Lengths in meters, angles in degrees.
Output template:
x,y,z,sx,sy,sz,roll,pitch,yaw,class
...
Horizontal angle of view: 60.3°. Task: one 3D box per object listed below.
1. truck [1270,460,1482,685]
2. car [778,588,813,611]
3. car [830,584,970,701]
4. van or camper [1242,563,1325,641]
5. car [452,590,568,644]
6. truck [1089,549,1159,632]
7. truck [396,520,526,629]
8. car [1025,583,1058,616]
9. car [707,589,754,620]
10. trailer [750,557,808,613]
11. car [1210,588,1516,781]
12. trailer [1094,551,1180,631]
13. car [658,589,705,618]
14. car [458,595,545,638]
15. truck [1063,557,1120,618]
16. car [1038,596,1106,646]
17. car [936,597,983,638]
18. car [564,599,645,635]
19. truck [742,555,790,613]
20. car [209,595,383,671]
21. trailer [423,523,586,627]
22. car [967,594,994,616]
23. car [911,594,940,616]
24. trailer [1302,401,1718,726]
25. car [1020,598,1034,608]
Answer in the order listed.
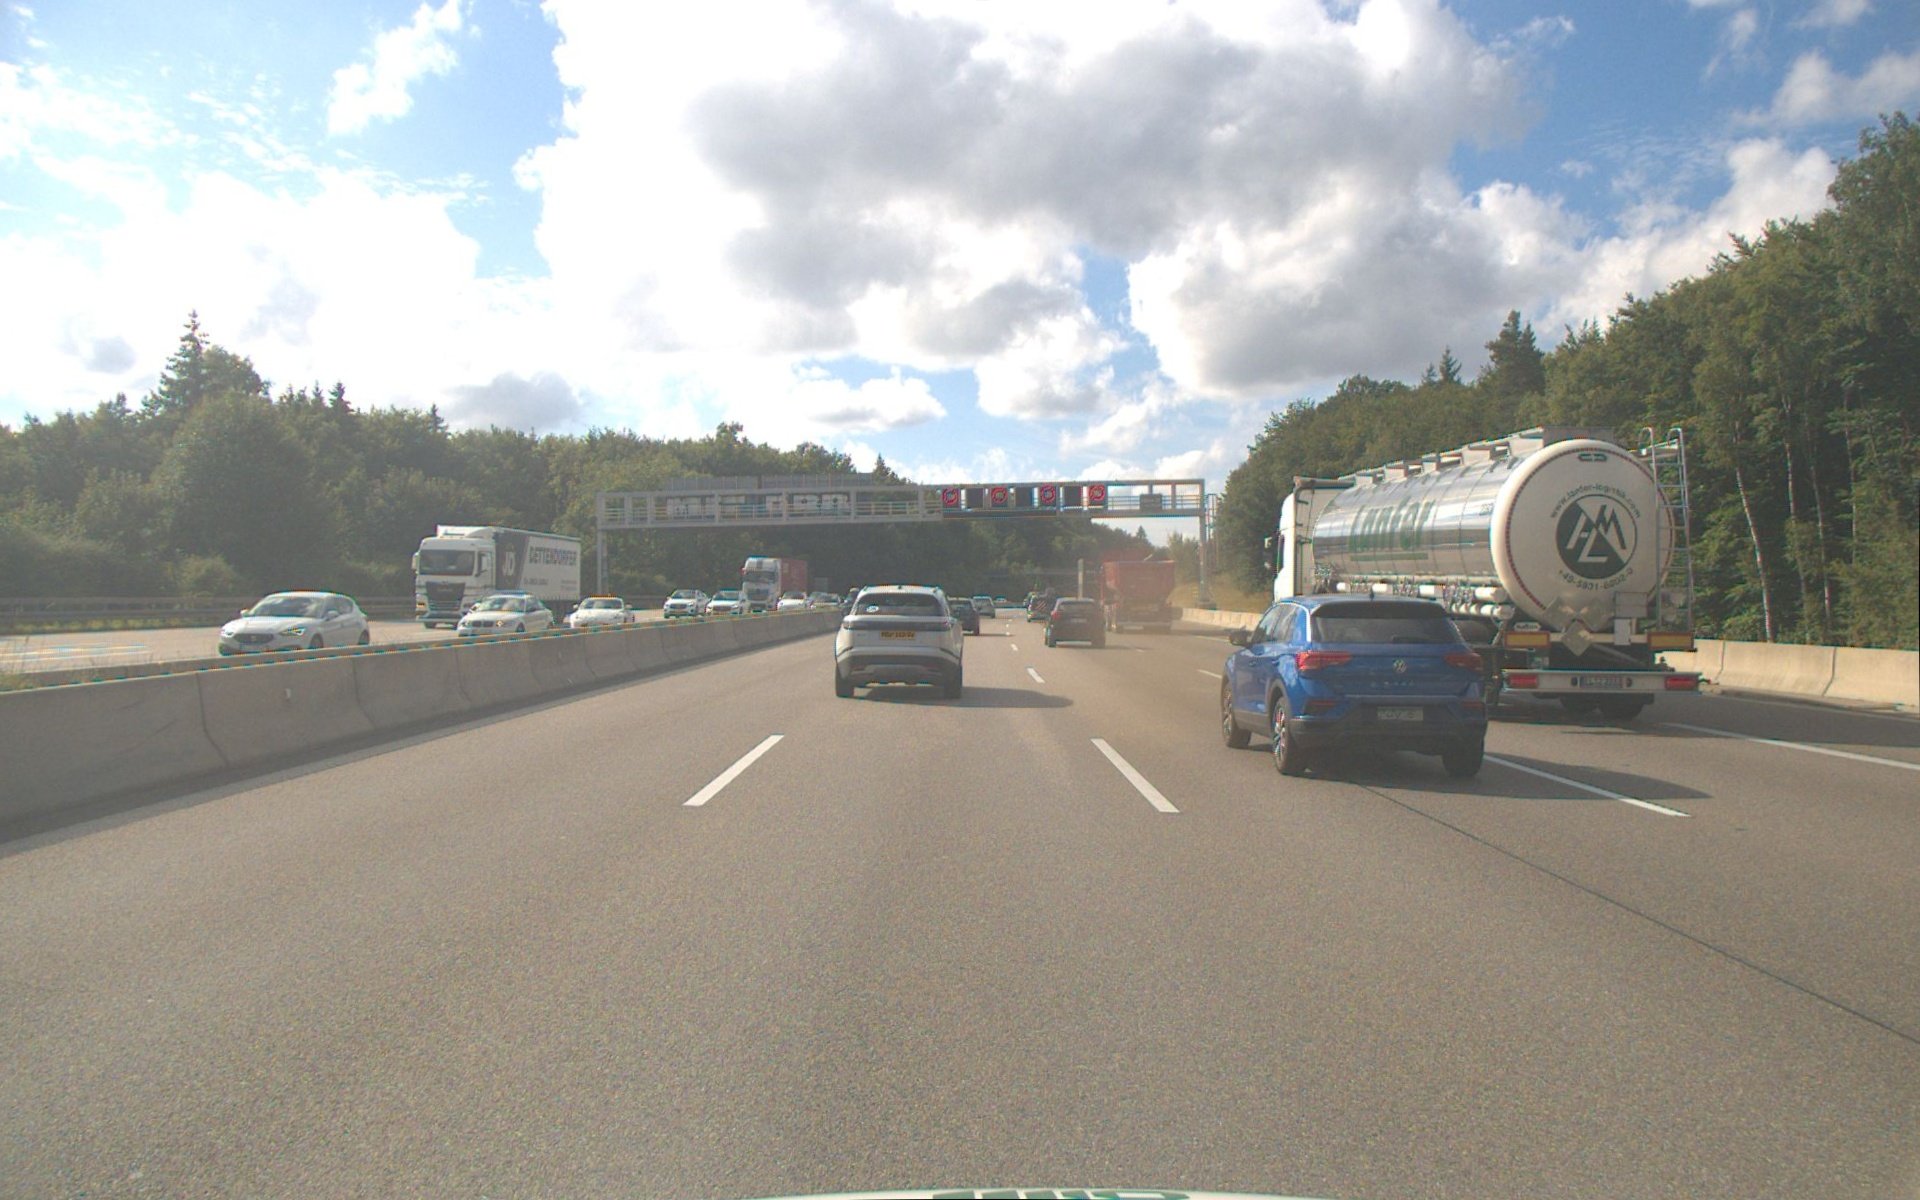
x,y,z,sx,sy,sz,roll,pitch,yaw,class
7.796,-0.482,31.740,2.594,3.890,6.082,0,0,1,truck
-11.295,-0.044,113.860,1.819,1.552,4.995,1,0,1,car
-0.870,0.602,26.256,1.965,1.644,5.300,1,0,0,car
10.183,0.043,52.354,1.784,2.348,4.939,0,0,1,van or camper
-12.659,0.454,46.789,1.646,1.421,4.717,0,0,5,car
7.735,-0.471,78.682,2.655,3.783,5.817,1,0,-1,truck
-20.055,-1.003,66.850,3.249,4.178,6.225,0,0,1,truck
4.823,-0.016,97.808,1.854,1.889,4.102,1,0,3,car
-12.322,0.233,89.153,1.673,1.622,4.945,0,0,2,car
-14.183,-1.176,130.591,2.682,4.178,13.419,0,0,2,trailer
3.621,0.680,15.692,1.737,1.557,4.456,0,0,-1,car
7.768,-0.426,73.781,2.654,3.288,9.731,1,0,0,trailer
-16.122,0.186,95.983,1.756,1.646,5.045,0,0,1,car
-16.627,0.568,60.180,1.774,1.478,4.801,0,0,1,car
8.984,-0.850,113.859,3.054,4.003,10.410,0,0,0,truck
3.469,0.637,51.915,1.785,1.483,3.999,0,0,-1,car
0.013,0.664,66.207,1.785,1.573,4.000,0,0,1,car
-12.083,0.555,56.425,1.774,1.181,4.515,0,0,0,car
-14.388,-1.153,122.873,2.682,4.178,5.766,0,0,1,truck
-13.318,0.610,33.491,1.734,1.419,4.689,0,0,-2,car
-19.990,-1.047,73.930,3.249,4.178,14.155,0,0,0,trailer
1.413,0.362,113.419,1.784,1.483,4.001,1,0,1,car
-2.360,0.328,114.245,1.902,1.483,4.000,-1,0,0,car
7.732,-0.454,25.489,2.594,3.833,11.861,0,0,1,trailer
9.891,0.452,243.605,2.033,1.483,4.002,-1,0,3,car
